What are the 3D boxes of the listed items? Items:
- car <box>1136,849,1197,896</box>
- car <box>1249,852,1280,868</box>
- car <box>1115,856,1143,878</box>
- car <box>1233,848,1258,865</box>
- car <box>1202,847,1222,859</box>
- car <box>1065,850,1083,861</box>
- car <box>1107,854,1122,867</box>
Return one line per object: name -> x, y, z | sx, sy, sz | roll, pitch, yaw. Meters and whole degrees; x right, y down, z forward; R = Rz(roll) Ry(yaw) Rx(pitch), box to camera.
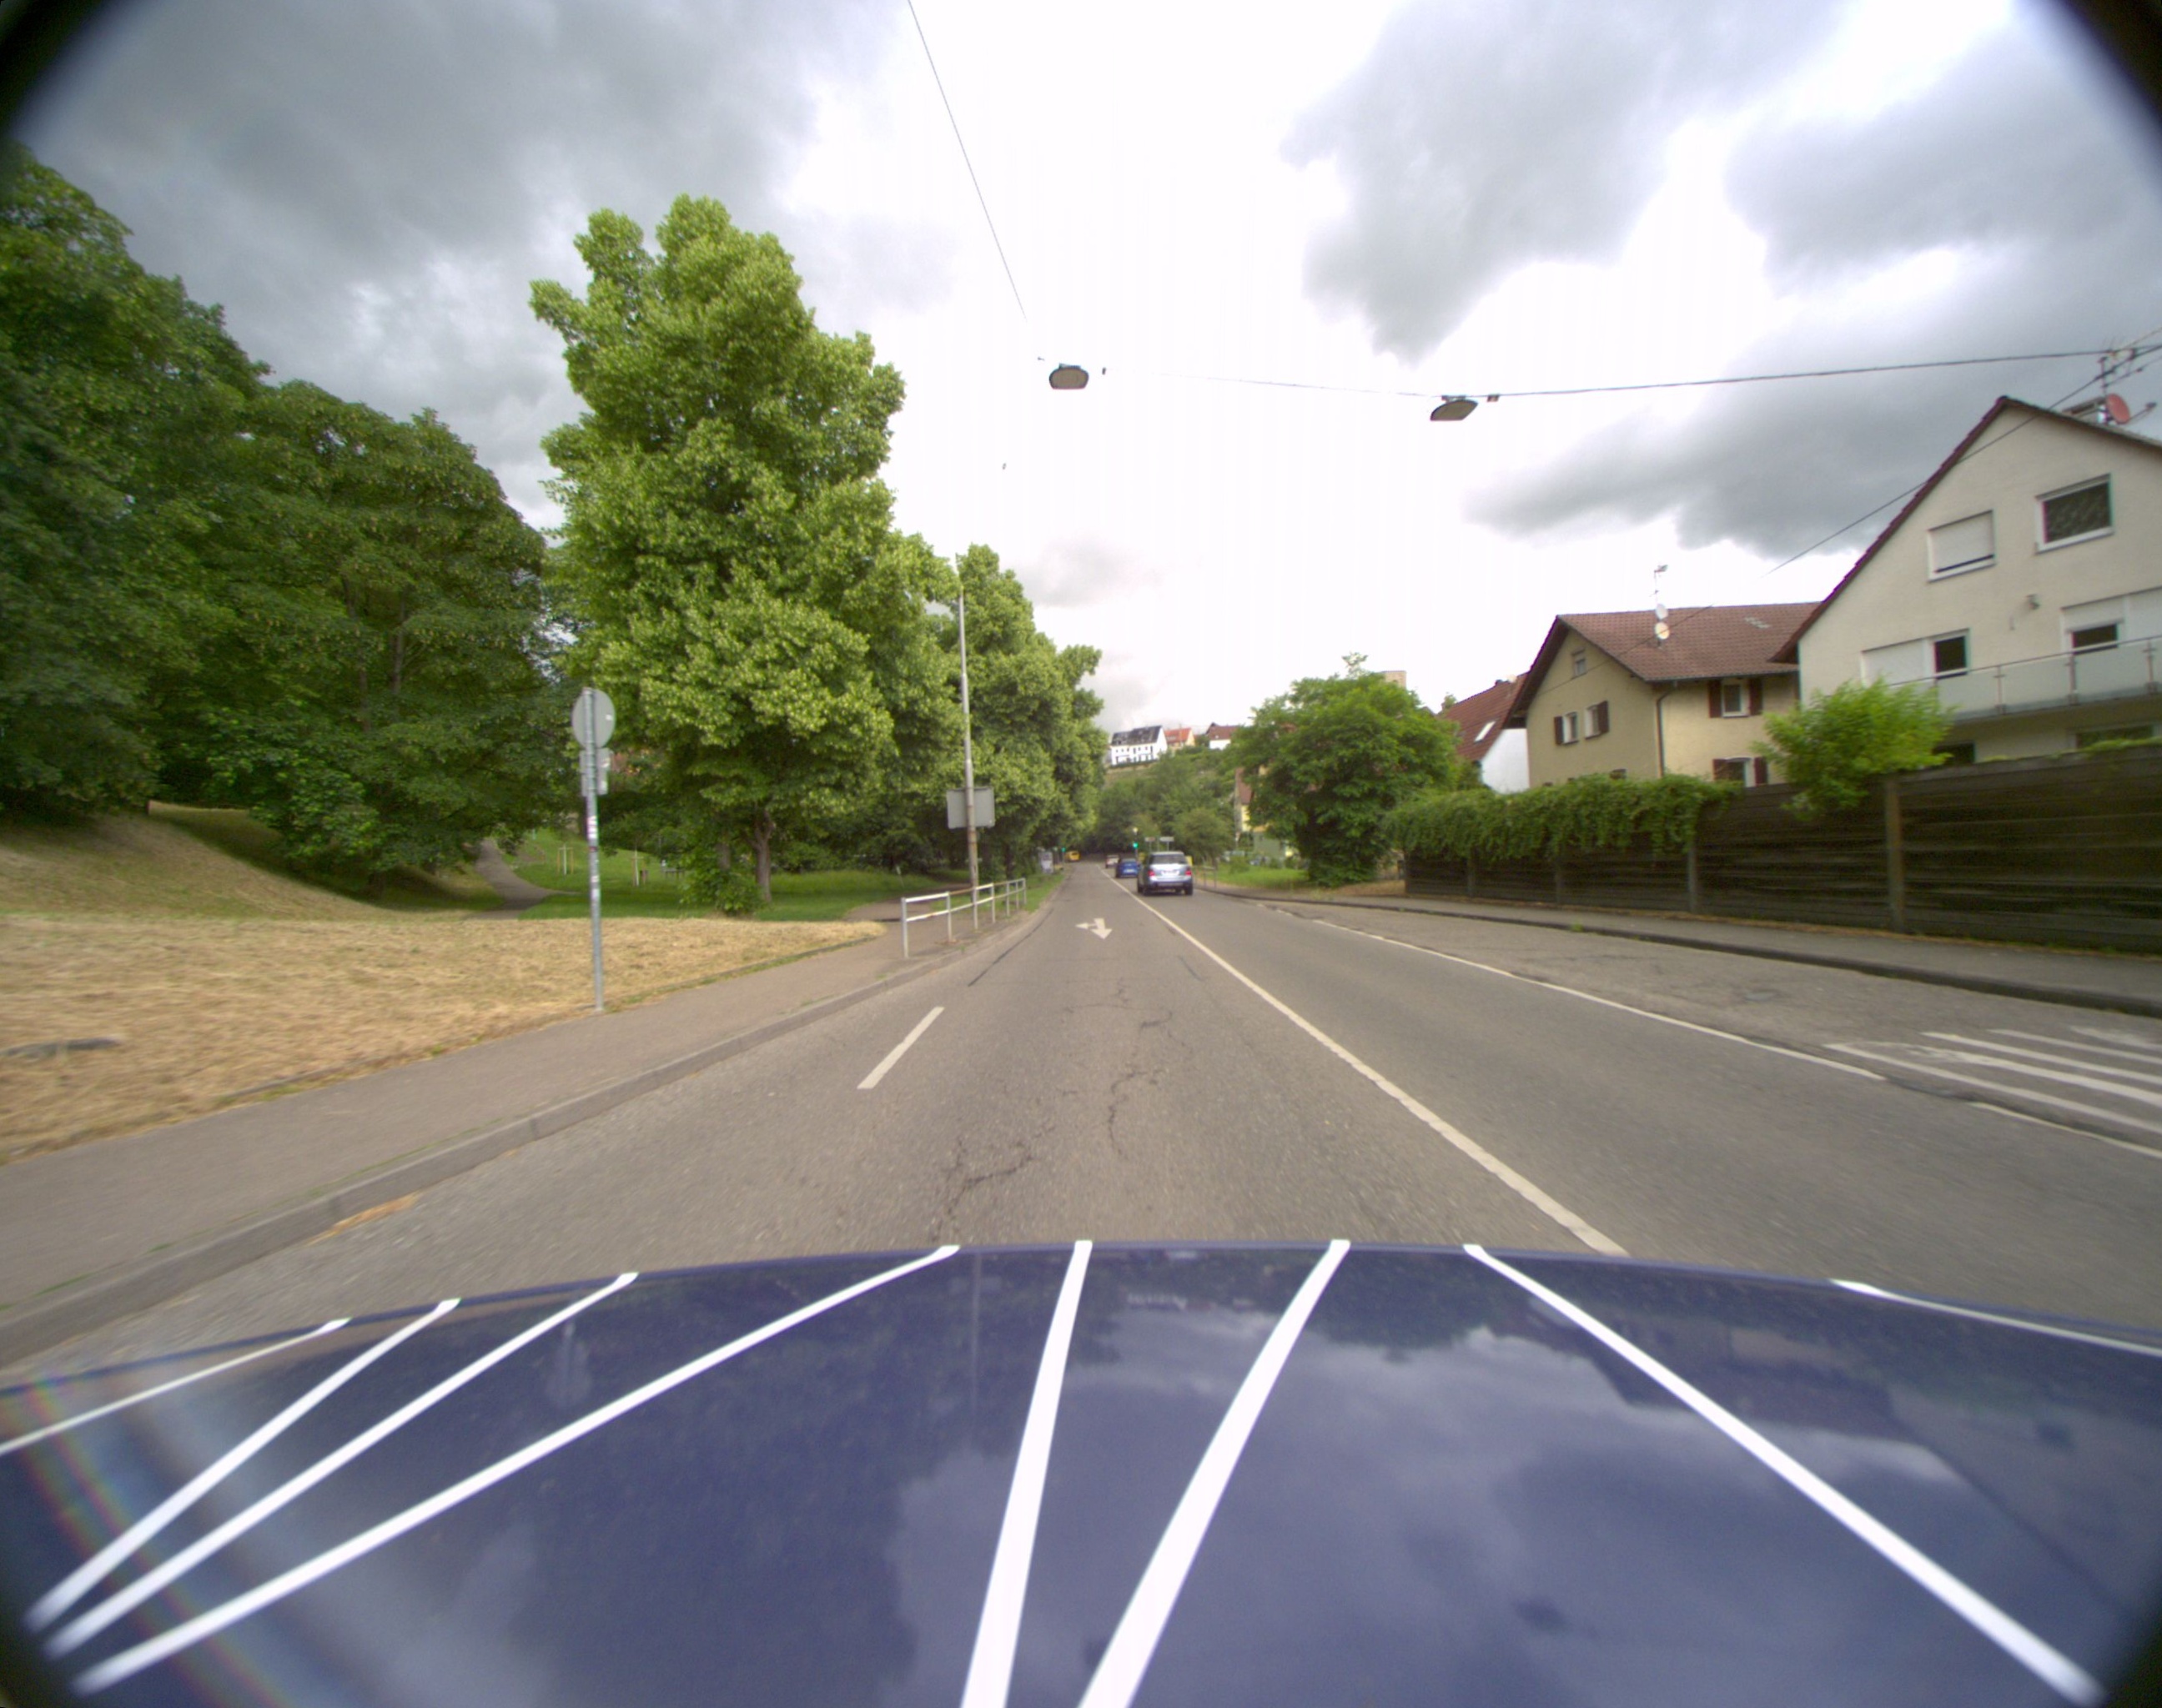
car -> 3.425, 0.707, 31.256 | 1.940, 1.714, 4.691 | -1, 0, 0
car -> 15.275, 0.481, 63.383 | 1.997, 1.269, 4.002 | -1, 0, 6
car -> 3.466, 0.920, 55.416 | 1.720, 1.460, 4.099 | -2, 0, -1
car -> 15.959, 0.256, 73.881 | 1.815, 1.608, 4.001 | -1, 0, 3
car -> 15.704, -0.132, 91.386 | 1.649, 1.337, 4.152 | -1, 0, 0
car -> -1.276, 0.241, 142.195 | 1.853, 1.919, 4.762 | -3, 0, -18
car -> 4.059, 0.815, 92.730 | 1.709, 1.503, 4.000 | -1, 0, 1
